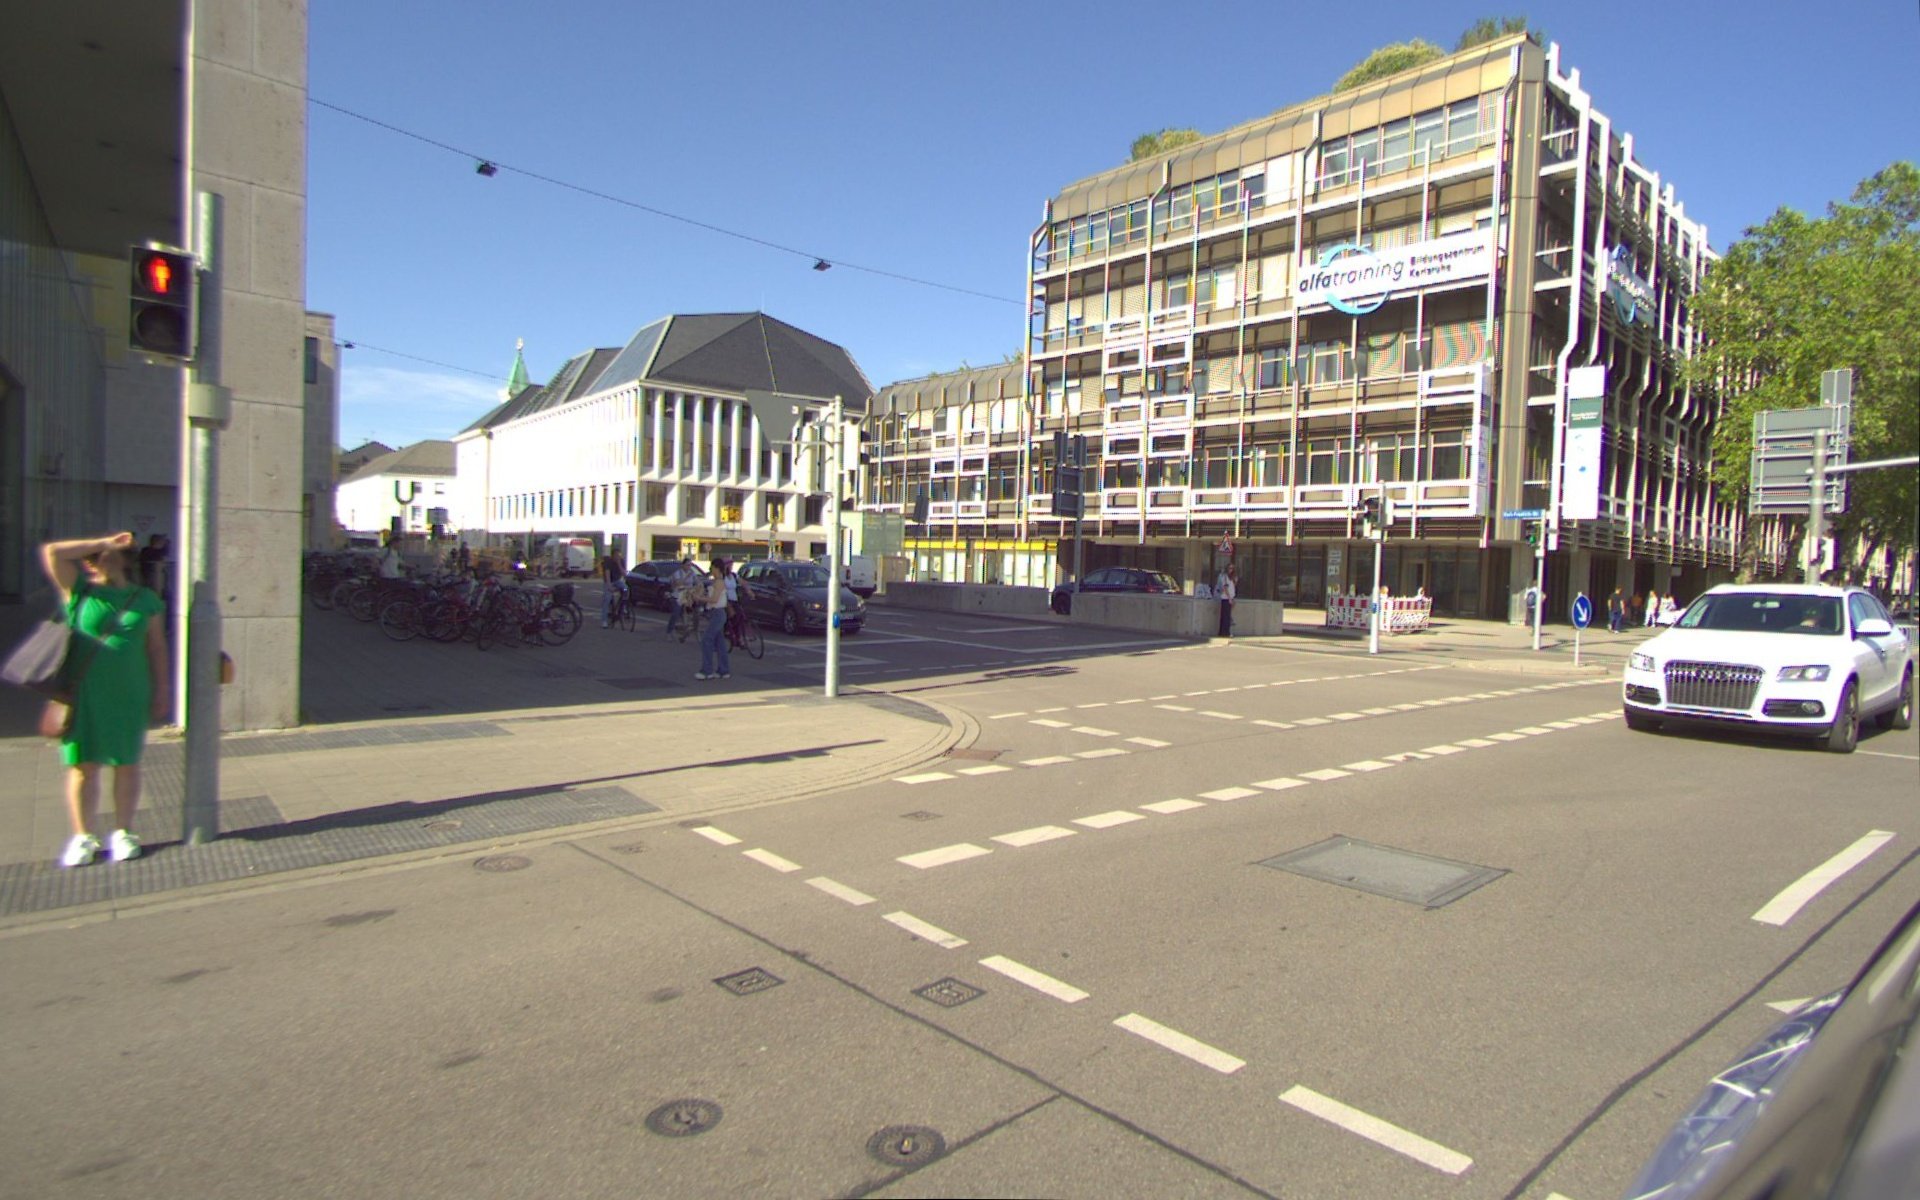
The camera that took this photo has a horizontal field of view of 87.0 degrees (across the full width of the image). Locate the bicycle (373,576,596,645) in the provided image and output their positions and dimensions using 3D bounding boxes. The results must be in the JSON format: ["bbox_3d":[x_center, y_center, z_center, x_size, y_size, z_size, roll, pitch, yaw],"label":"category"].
[{"bbox_3d":[-8.426,0.165,18.097,3.436,1.107,1.068,0,2,-41],"label":"bicycle"}]

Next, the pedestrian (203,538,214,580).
[{"bbox_3d":[-31.000,-1.701,41.750,0.289,1.705,0.338,1,1,-33],"label":"pedestrian"}]

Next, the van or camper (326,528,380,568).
[{"bbox_3d":[-41.265,-3.547,68.710,2.139,2.545,6.422,1,2,-40],"label":"van or camper"}]

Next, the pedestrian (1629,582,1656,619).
[{"bbox_3d":[31.115,0.017,46.144,0.992,1.620,0.667,1,4,-42],"label":"pedestrian"}]

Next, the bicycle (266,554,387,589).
[{"bbox_3d":[-21.841,-0.984,34.977,3.435,1.107,1.068,0,2,-40],"label":"bicycle"}]

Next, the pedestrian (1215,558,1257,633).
[{"bbox_3d":[6.252,-0.114,22.917,0.659,1.632,0.519,5,4,39],"label":"pedestrian"}]

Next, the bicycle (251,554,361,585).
[{"bbox_3d":[-25.153,-1.165,38.977,3.435,1.107,1.068,0,2,-40],"label":"bicycle"}]

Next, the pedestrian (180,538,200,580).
[{"bbox_3d":[-31.894,-1.706,41.917,0.534,1.705,0.565,3,1,41],"label":"pedestrian"}]

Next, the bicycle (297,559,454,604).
[{"bbox_3d":[-15.375,-0.483,26.713,3.435,1.107,1.068,0,2,-40],"label":"bicycle"}]

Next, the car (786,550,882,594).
[{"bbox_3d":[-5.421,-1.214,43.136,4.148,1.755,1.763,3,2,42],"label":"car"}]

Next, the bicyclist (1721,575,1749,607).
[{"bbox_3d":[37.113,-0.419,48.450,0.868,1.495,0.882,1,2,-42],"label":"bicyclist"}]

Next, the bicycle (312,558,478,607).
[{"bbox_3d":[-13.845,-0.413,24.901,3.435,1.107,1.068,0,2,-40],"label":"bicycle"}]

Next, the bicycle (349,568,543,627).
[{"bbox_3d":[-10.603,-0.051,21.006,3.435,1.107,1.068,0,2,-40],"label":"bicycle"}]

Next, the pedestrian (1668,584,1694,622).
[{"bbox_3d":[31.866,0.121,44.732,0.715,1.620,0.667,1,4,-42],"label":"pedestrian"}]

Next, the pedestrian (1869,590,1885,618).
[{"bbox_3d":[67.525,0.267,74.507,0.615,2.039,0.740,1,1,-43],"label":"pedestrian"}]

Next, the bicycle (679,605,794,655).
[{"bbox_3d":[-3.839,0.481,17.213,1.052,0.679,2.199,0,2,-38],"label":"bicycle"}]

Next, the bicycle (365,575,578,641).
[{"bbox_3d":[-9.118,0.135,19.046,3.436,1.107,1.068,0,2,-41],"label":"bicycle"}]

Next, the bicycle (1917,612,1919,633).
[{"bbox_3d":[45.388,1.128,46.617,1.844,0.972,0.700,6,4,44],"label":"bicycle"}]

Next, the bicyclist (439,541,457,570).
[{"bbox_3d":[-30.359,-2.660,60.018,0.781,1.690,0.955,0,2,-40],"label":"bicyclist"}]

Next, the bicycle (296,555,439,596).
[{"bbox_3d":[-17.091,-0.687,29.252,3.435,1.107,1.068,0,2,-40],"label":"bicycle"}]

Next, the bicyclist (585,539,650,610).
[{"bbox_3d":[-7.270,-0.540,21.472,1.022,1.451,0.935,1,2,-39],"label":"bicyclist"}]

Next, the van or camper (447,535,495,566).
[{"bbox_3d":[-42.558,-4.358,88.012,2.282,2.544,6.423,1,2,-39],"label":"van or camper"}]

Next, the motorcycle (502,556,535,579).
[{"bbox_3d":[-22.649,-1.673,51.866,0.781,1.112,2.961,0,2,-39],"label":"motorcycle"}]

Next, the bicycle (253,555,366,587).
[{"bbox_3d":[-24.175,-1.079,37.689,3.435,1.107,1.068,0,2,-40],"label":"bicycle"}]

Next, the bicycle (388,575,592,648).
[{"bbox_3d":[-7.855,0.169,17.037,2.939,1.107,1.068,0,2,-41],"label":"bicycle"}]

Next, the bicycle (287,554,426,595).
[{"bbox_3d":[-17.886,-0.743,30.078,3.435,1.107,1.068,0,2,-40],"label":"bicycle"}]

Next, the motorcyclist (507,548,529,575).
[{"bbox_3d":[-22.639,-1.978,51.853,0.781,1.399,1.082,0,2,-40],"label":"motorcyclist"}]

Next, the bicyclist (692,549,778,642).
[{"bbox_3d":[-3.822,-0.089,17.183,1.052,1.494,1.025,1,2,-39],"label":"bicyclist"}]

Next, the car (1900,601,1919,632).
[{"bbox_3d":[50.547,0.871,52.864,4.482,1.508,1.751,0,3,-43],"label":"car"}]

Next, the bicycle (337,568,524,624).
[{"bbox_3d":[-11.368,-0.080,21.854,3.435,1.107,1.068,0,2,-40],"label":"bicycle"}]

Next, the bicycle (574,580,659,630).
[{"bbox_3d":[-7.327,0.089,21.518,1.011,0.943,2.199,1,2,-38],"label":"bicycle"}]

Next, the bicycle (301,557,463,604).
[{"bbox_3d":[-14.658,-0.484,25.763,3.435,1.107,1.068,0,2,-40],"label":"bicycle"}]

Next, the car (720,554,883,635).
[{"bbox_3d":[-3.729,-0.210,23.245,1.828,1.632,4.195,-2,4,-40],"label":"car"}]

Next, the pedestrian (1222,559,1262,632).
[{"bbox_3d":[6.550,-0.114,23.497,0.659,1.632,0.519,5,4,39],"label":"pedestrian"}]

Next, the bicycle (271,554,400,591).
[{"bbox_3d":[-20.156,-0.887,32.726,3.435,1.107,1.068,0,2,-40],"label":"bicycle"}]

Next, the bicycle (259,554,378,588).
[{"bbox_3d":[-22.698,-1.023,35.865,3.435,1.107,1.068,0,2,-40],"label":"bicycle"}]

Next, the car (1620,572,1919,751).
[{"bbox_3d":[9.292,0.555,11.257,4.329,1.633,1.825,1,1,-36],"label":"car"}]

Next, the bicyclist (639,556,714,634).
[{"bbox_3d":[-5.362,-0.102,19.143,1.057,1.413,0.935,1,2,-39],"label":"bicyclist"}]

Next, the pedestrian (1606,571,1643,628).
[{"bbox_3d":[24.286,-0.037,37.003,0.945,2.038,1.064,3,1,40],"label":"pedestrian"}]

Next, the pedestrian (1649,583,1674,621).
[{"bbox_3d":[31.530,0.095,45.508,0.715,1.620,0.667,1,4,-42],"label":"pedestrian"}]

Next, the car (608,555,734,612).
[{"bbox_3d":[-8.450,-0.542,29.316,1.828,1.437,4.616,-2,4,-40],"label":"car"}]

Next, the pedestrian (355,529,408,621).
[{"bbox_3d":[-12.348,-0.537,21.608,0.630,1.931,0.734,2,1,25],"label":"pedestrian"}]

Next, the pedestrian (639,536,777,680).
[{"bbox_3d":[-3.449,0.077,13.868,1.497,1.823,0.969,0,4,-43],"label":"pedestrian"}]

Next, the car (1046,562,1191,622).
[{"bbox_3d":[4.939,-0.276,31.969,1.759,1.720,4.406,1,2,-41],"label":"car"}]

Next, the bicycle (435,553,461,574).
[{"bbox_3d":[-30.386,-2.172,60.046,0.781,1.229,2.961,0,2,-39],"label":"bicycle"}]

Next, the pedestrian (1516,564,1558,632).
[{"bbox_3d":[18.031,-0.080,31.626,0.944,2.038,1.065,3,2,36],"label":"pedestrian"}]

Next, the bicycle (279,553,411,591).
[{"bbox_3d":[-19.338,-0.861,31.894,3.435,1.107,1.068,0,2,-40],"label":"bicycle"}]

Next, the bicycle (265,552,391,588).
[{"bbox_3d":[-21.083,-0.976,33.827,3.435,1.107,1.068,0,2,-40],"label":"bicycle"}]

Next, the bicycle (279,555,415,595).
[{"bbox_3d":[-18.683,-0.749,30.904,3.435,1.107,1.068,0,2,-40],"label":"bicycle"}]

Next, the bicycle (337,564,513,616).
[{"bbox_3d":[-12.219,-0.230,23.234,3.435,1.107,1.068,0,2,-40],"label":"bicycle"}]

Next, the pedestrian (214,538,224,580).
[{"bbox_3d":[-30.694,-1.703,41.930,0.289,1.705,0.338,1,1,-33],"label":"pedestrian"}]

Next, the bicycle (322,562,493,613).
[{"bbox_3d":[-13.068,-0.290,24.039,3.435,1.107,1.068,0,2,-40],"label":"bicycle"}]

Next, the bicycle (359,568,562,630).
[{"bbox_3d":[-9.806,-0.026,20.007,3.436,1.107,1.068,0,2,-41],"label":"bicycle"}]

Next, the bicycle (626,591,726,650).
[{"bbox_3d":[-5.406,0.366,19.180,1.052,0.955,2.199,1,2,-38],"label":"bicycle"}]

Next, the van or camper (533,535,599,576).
[{"bbox_3d":[-26.428,-3.016,67.745,2.282,2.544,6.423,1,2,-39],"label":"van or camper"}]

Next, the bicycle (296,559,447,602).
[{"bbox_3d":[-16.037,-0.516,27.681,3.435,1.107,1.068,0,2,-40],"label":"bicycle"}]

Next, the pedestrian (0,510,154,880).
[{"bbox_3d":[-4.551,0.429,5.097,0.686,1.722,0.658,1,4,-44],"label":"pedestrian"}]

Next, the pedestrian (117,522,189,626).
[{"bbox_3d":[-13.738,-0.444,17.229,0.846,1.705,0.977,1,2,-44],"label":"pedestrian"}]
